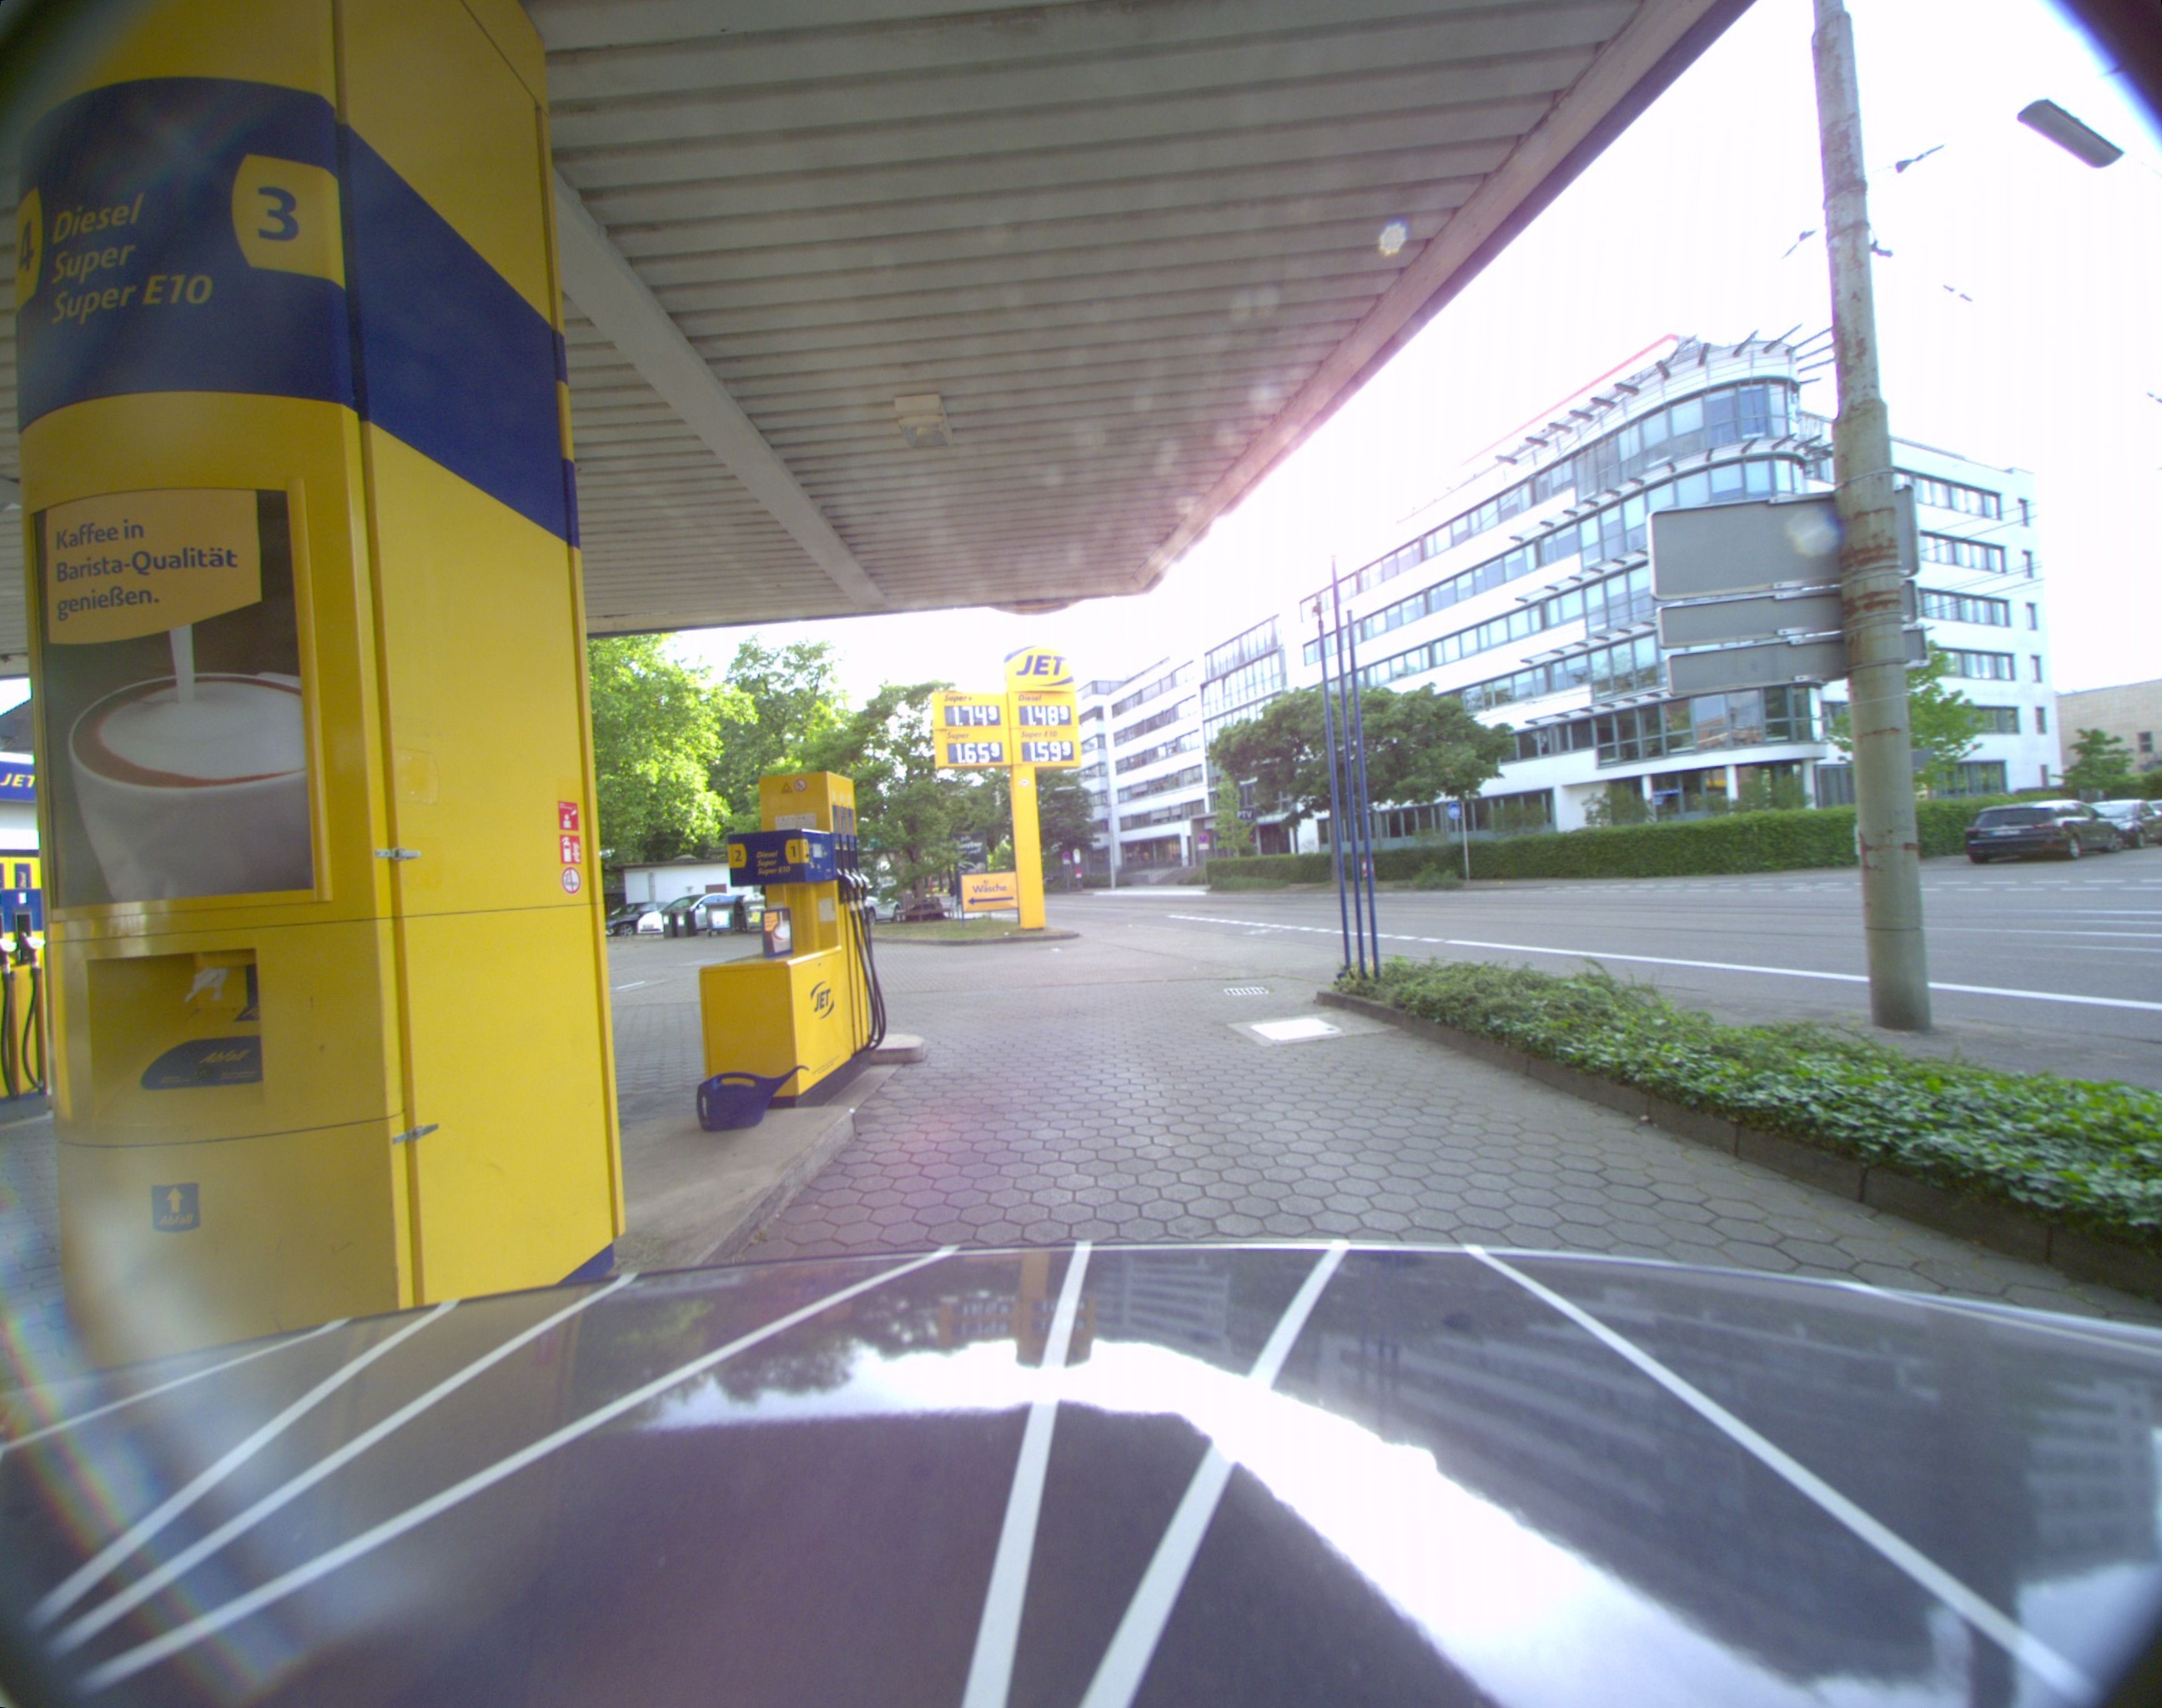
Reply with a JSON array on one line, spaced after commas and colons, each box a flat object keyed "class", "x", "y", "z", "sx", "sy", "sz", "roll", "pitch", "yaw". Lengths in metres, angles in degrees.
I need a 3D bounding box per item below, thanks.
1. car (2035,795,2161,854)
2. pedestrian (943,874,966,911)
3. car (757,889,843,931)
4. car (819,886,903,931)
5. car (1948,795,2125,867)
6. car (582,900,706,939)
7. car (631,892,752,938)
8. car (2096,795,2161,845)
[{"class": "car", "x": 32.492, "y": -0.944, "z": 24.037, "sx": 4.109, "sy": 1.544, "sz": 1.786, "roll": -4, "pitch": -1, "yaw": -23}, {"class": "pedestrian", "x": -7.013, "y": 2.133, "z": 42.115, "sx": 0.934, "sy": 2.001, "sz": 1.214, "roll": -2, "pitch": -1, "yaw": -24}, {"class": "car", "x": -11.801, "y": 2.325, "z": 32.242, "sx": 1.739, "sy": 1.500, "sz": 4.004, "roll": -4, "pitch": -2, "yaw": 6}, {"class": "car", "x": -8.685, "y": 2.118, "z": 30.380, "sx": 1.739, "sy": 1.500, "sz": 4.003, "roll": -4, "pitch": -2, "yaw": 6}, {"class": "car", "x": 27.376, "y": -0.651, "z": 21.766, "sx": 4.438, "sy": 1.603, "sz": 1.976, "roll": -5, "pitch": -1, "yaw": -23}, {"class": "car", "x": -17.745, "y": 2.635, "z": 31.070, "sx": 1.745, "sy": 1.269, "sz": 4.230, "roll": -5, "pitch": -3, "yaw": 19}, {"class": "car", "x": -15.359, "y": 2.386, "z": 30.254, "sx": 1.785, "sy": 1.514, "sz": 4.229, "roll": -4, "pitch": -3, "yaw": 17}, {"class": "car", "x": 37.151, "y": -1.238, "z": 26.075, "sx": 4.109, "sy": 1.544, "sz": 1.786, "roll": -4, "pitch": -1, "yaw": -23}]
